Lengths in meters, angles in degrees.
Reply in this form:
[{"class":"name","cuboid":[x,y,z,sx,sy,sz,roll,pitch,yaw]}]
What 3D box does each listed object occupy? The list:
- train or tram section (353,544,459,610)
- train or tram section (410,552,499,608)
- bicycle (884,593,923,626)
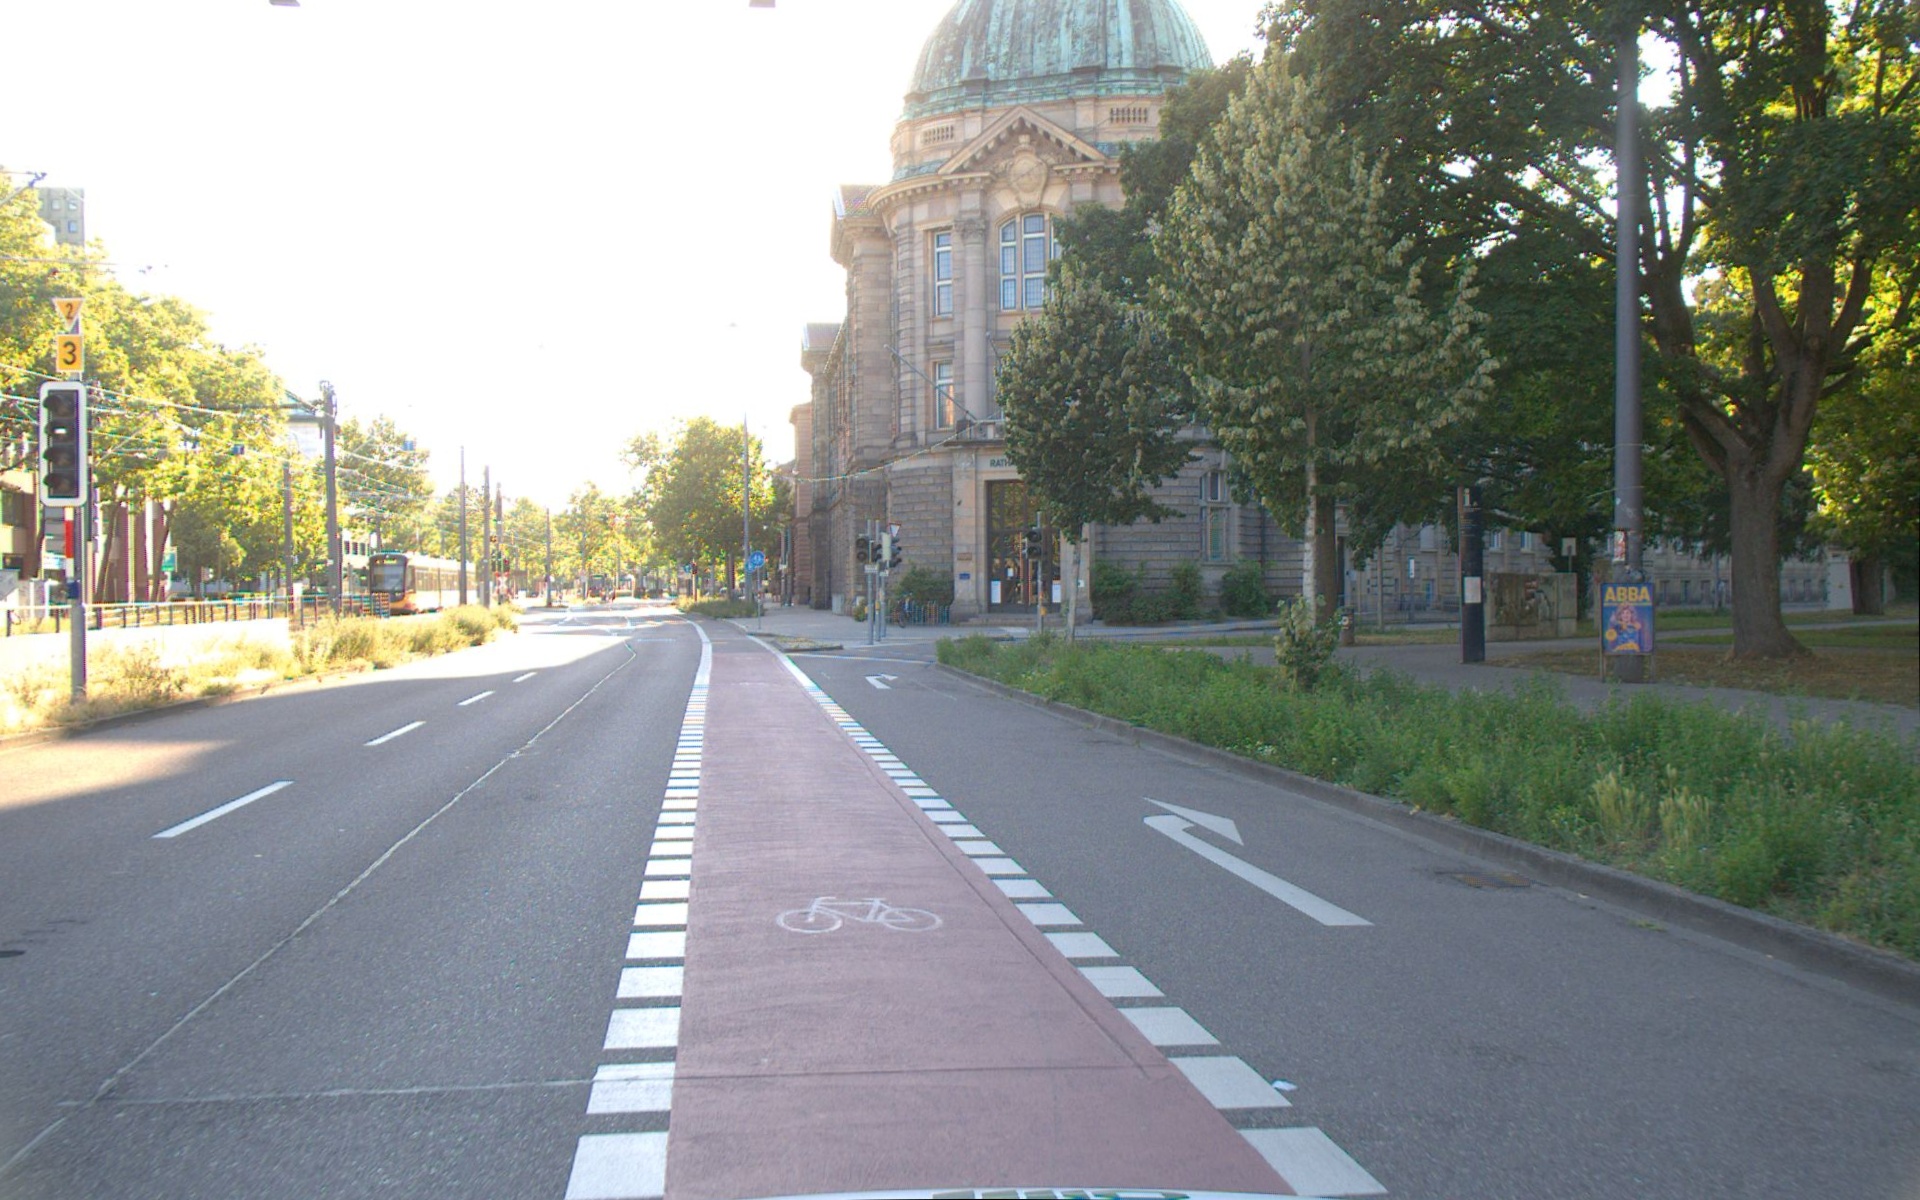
[{"class":"train or tram section","cuboid":[-33.356,-1.307,100.394,3.054,3.621,17.442,-1,0,-9]},{"class":"train or tram section","cuboid":[-36.074,-1.376,118.899,3.054,3.621,19.895,-1,0,-8]},{"class":"bicycle","cuboid":[-2.129,0.343,62.865,0.848,1.217,2.241,-1,0,15]}]
